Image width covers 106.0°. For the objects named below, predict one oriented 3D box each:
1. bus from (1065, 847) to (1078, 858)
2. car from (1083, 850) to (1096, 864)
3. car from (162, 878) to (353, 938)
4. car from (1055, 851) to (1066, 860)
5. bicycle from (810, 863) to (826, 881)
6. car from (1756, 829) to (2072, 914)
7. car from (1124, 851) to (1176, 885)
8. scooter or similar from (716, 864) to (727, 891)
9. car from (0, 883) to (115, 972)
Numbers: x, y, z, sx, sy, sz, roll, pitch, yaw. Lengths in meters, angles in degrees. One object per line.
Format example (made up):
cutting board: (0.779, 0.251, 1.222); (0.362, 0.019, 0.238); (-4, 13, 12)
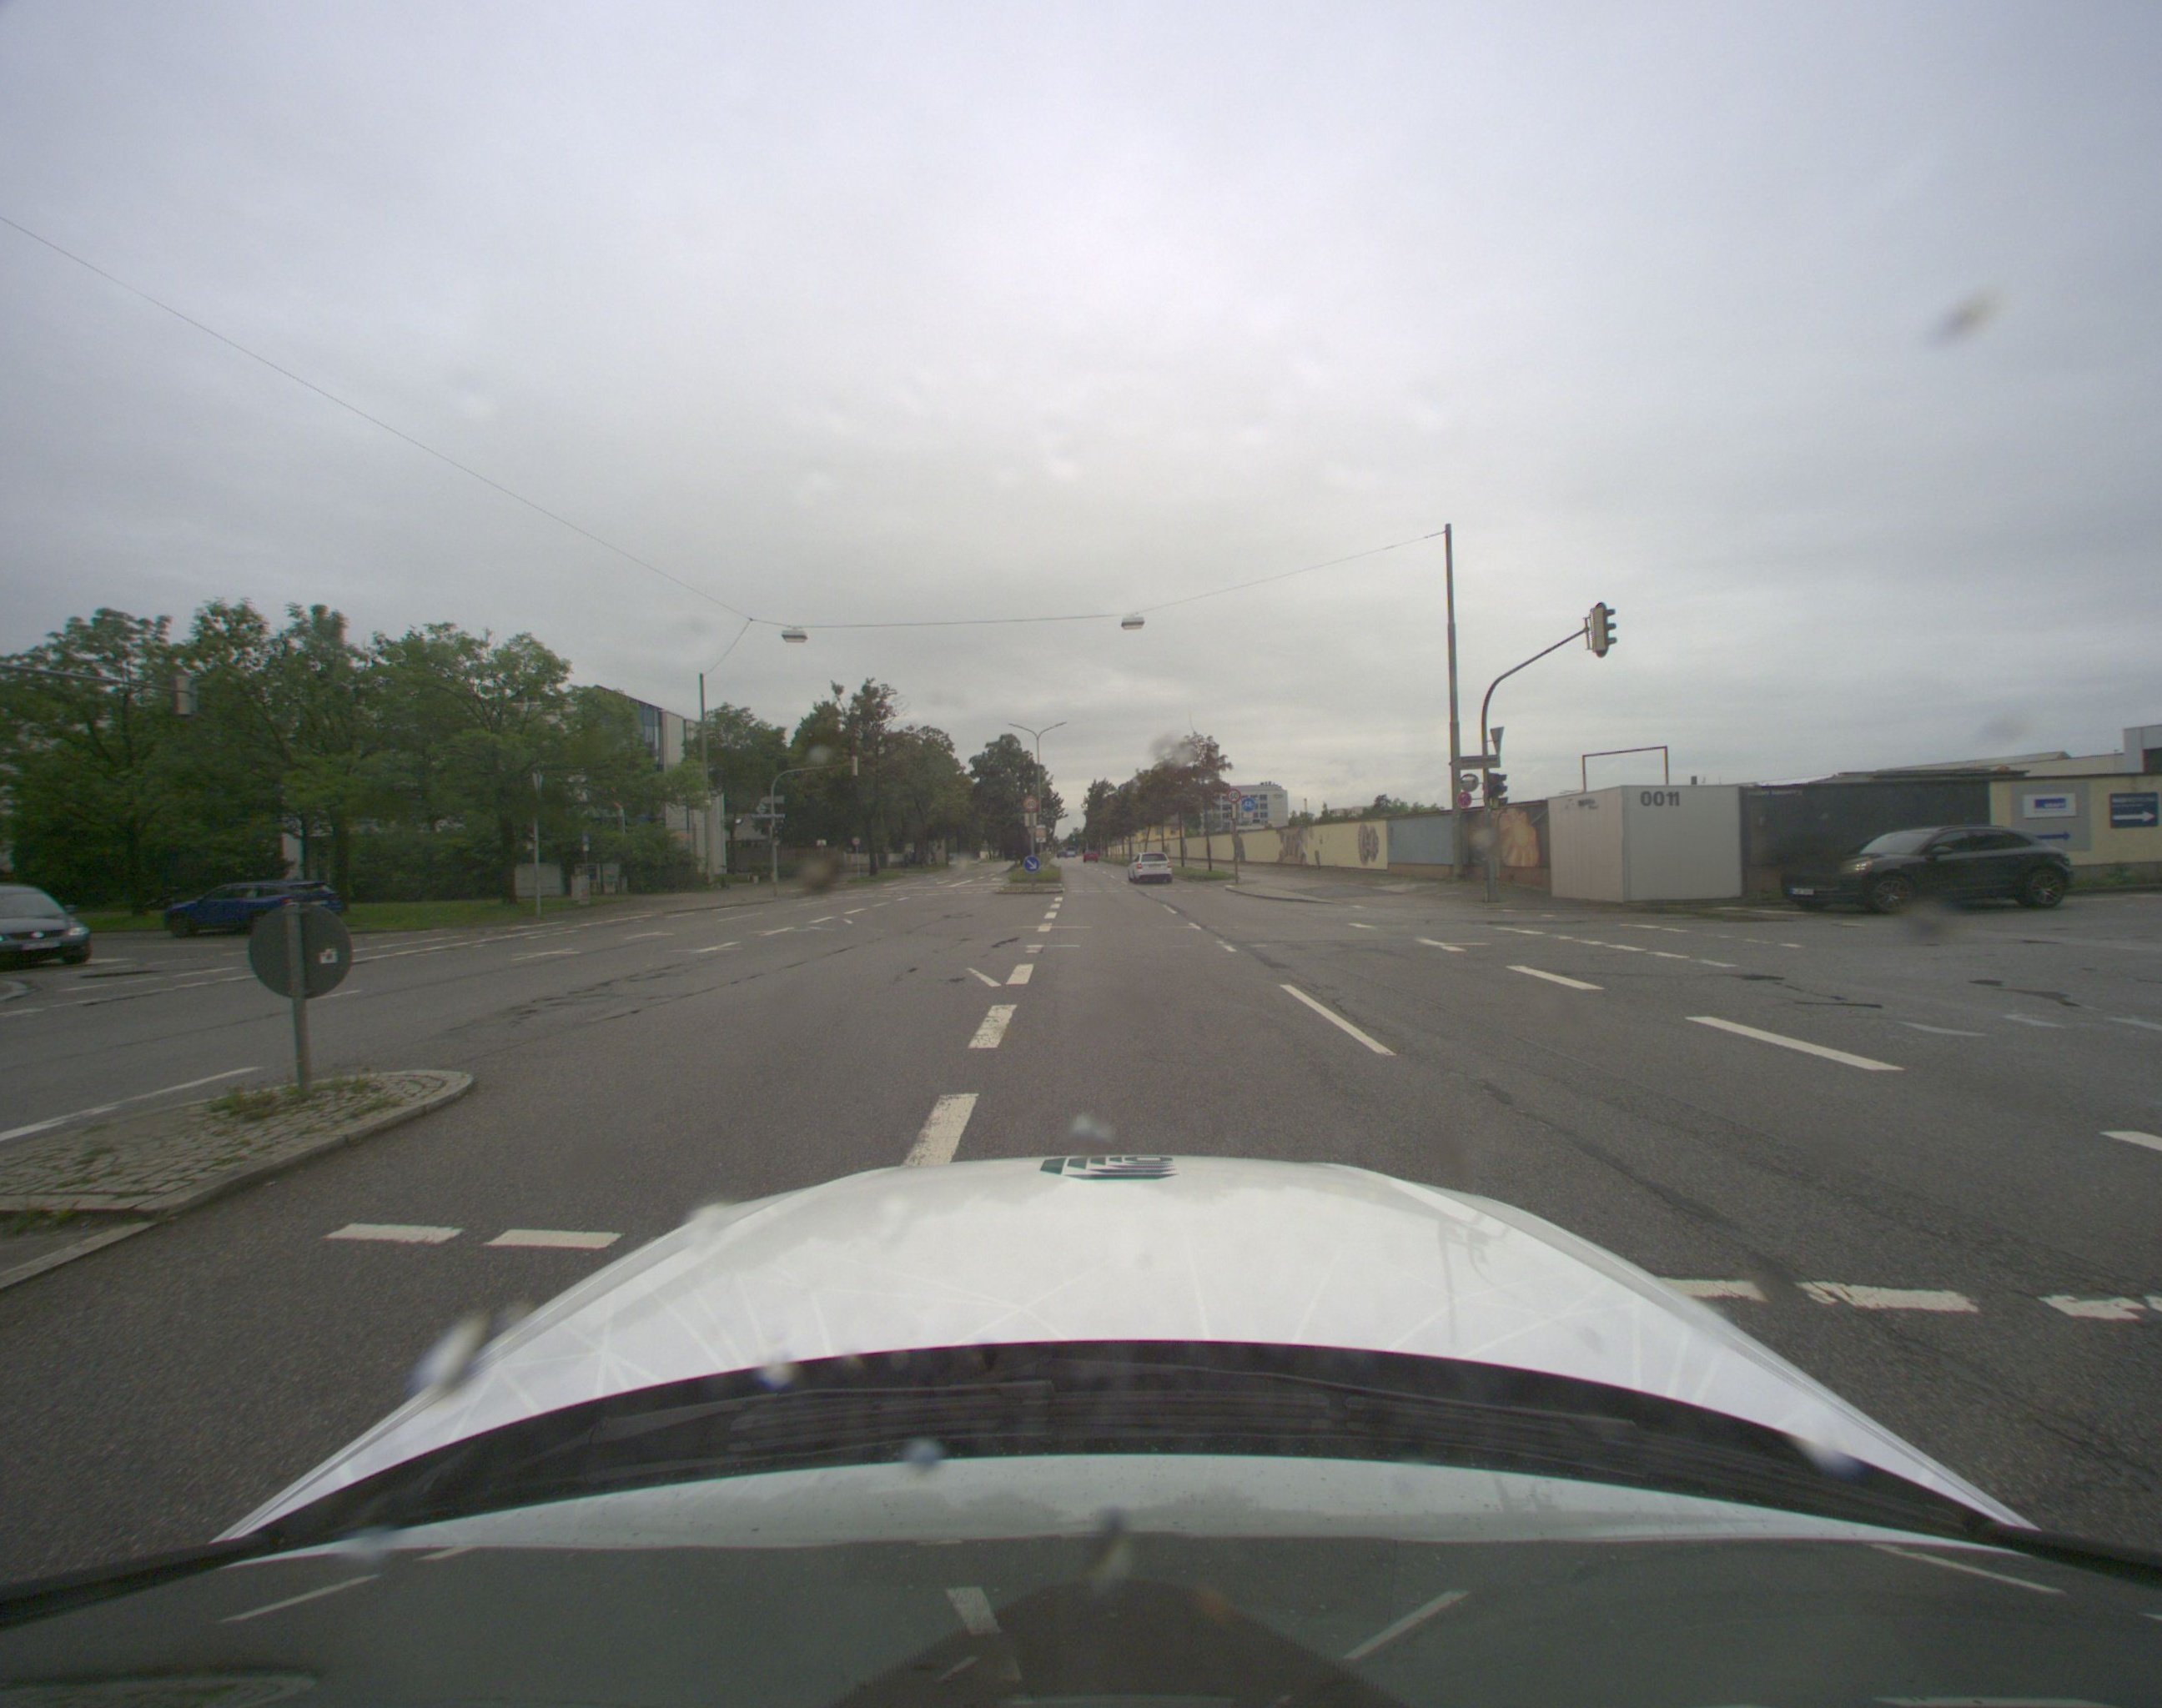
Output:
bus: (-2.638, -0.339, 231.791); (3.213, 3.127, 10.333); (-1, 0, -3)
car: (1.071, 0.392, 105.149); (1.481, 1.715, 3.547); (-1, 0, -3)
car: (-26.279, 1.701, 26.089); (4.246, 1.574, 2.004); (-3, 2, 6)
car: (-4.133, 0.307, 165.061); (2.079, 1.866, 4.381); (-1, 0, -3)
bicycle: (-20.179, 1.374, 62.501); (0.581, 1.295, 2.451); (-1, 0, -4)
car: (16.420, 0.330, 16.244); (4.236, 1.428, 2.000); (-2, 0, 0)
car: (3.214, 0.622, 38.561); (1.873, 1.468, 4.497); (-1, 0, -3)
scooter or similar: (-19.085, 1.237, 43.237); (0.371, 1.424, 1.397); (-1, 0, -17)
car: (-23.554, 1.599, 17.546); (4.734, 1.723, 2.010); (-3, -1, 20)
